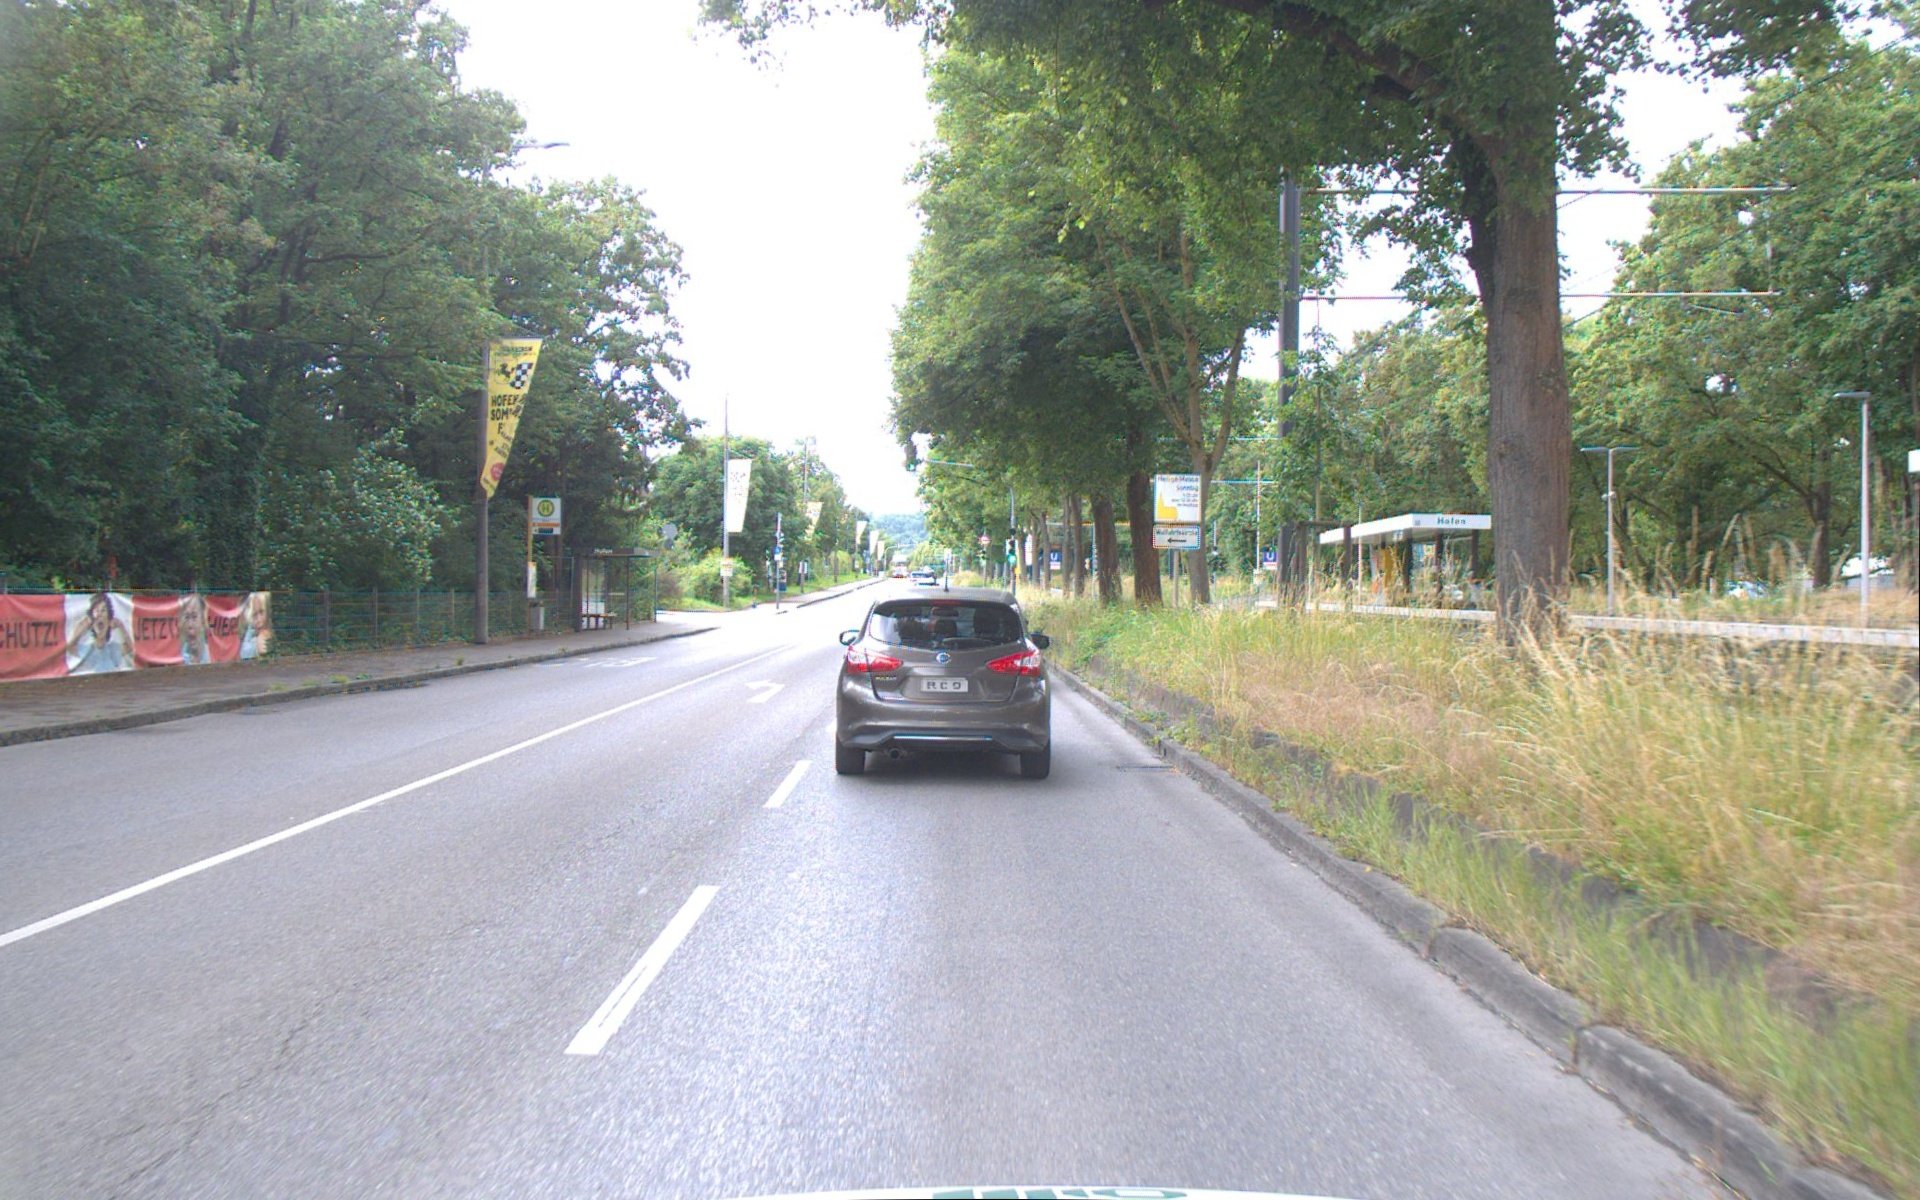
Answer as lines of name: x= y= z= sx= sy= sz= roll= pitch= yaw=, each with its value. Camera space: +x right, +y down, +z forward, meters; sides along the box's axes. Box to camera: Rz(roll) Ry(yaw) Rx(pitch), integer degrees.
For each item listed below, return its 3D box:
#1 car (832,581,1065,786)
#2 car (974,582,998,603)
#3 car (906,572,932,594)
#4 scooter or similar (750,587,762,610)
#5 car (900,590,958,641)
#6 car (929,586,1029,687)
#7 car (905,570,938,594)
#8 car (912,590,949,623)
car: x=-0.101 y=0.624 z=14.390 sx=1.747 sy=1.533 sz=3.695 roll=1 pitch=0 yaw=-1
car: x=1.916 y=-0.560 z=121.852 sx=1.657 sy=1.466 sz=3.541 roll=1 pitch=1 yaw=-1
car: x=-3.208 y=-1.323 z=130.244 sx=1.953 sy=1.601 sz=3.999 roll=2 pitch=0 yaw=-1
scooter or similar: x=-11.249 y=-0.083 z=91.274 sx=0.453 sy=1.281 sz=1.426 roll=1 pitch=0 yaw=0
car: x=-0.937 y=0.444 z=50.232 sx=1.657 sy=1.466 sz=3.541 roll=1 pitch=1 yaw=-1
car: x=0.253 y=0.533 z=26.328 sx=1.471 sy=1.466 sz=3.541 roll=1 pitch=1 yaw=-1
car: x=-2.306 y=-1.068 z=99.891 sx=1.953 sy=1.344 sz=3.999 roll=2 pitch=0 yaw=-1
car: x=-1.360 y=0.278 z=76.704 sx=1.657 sy=1.466 sz=3.541 roll=1 pitch=1 yaw=-1
